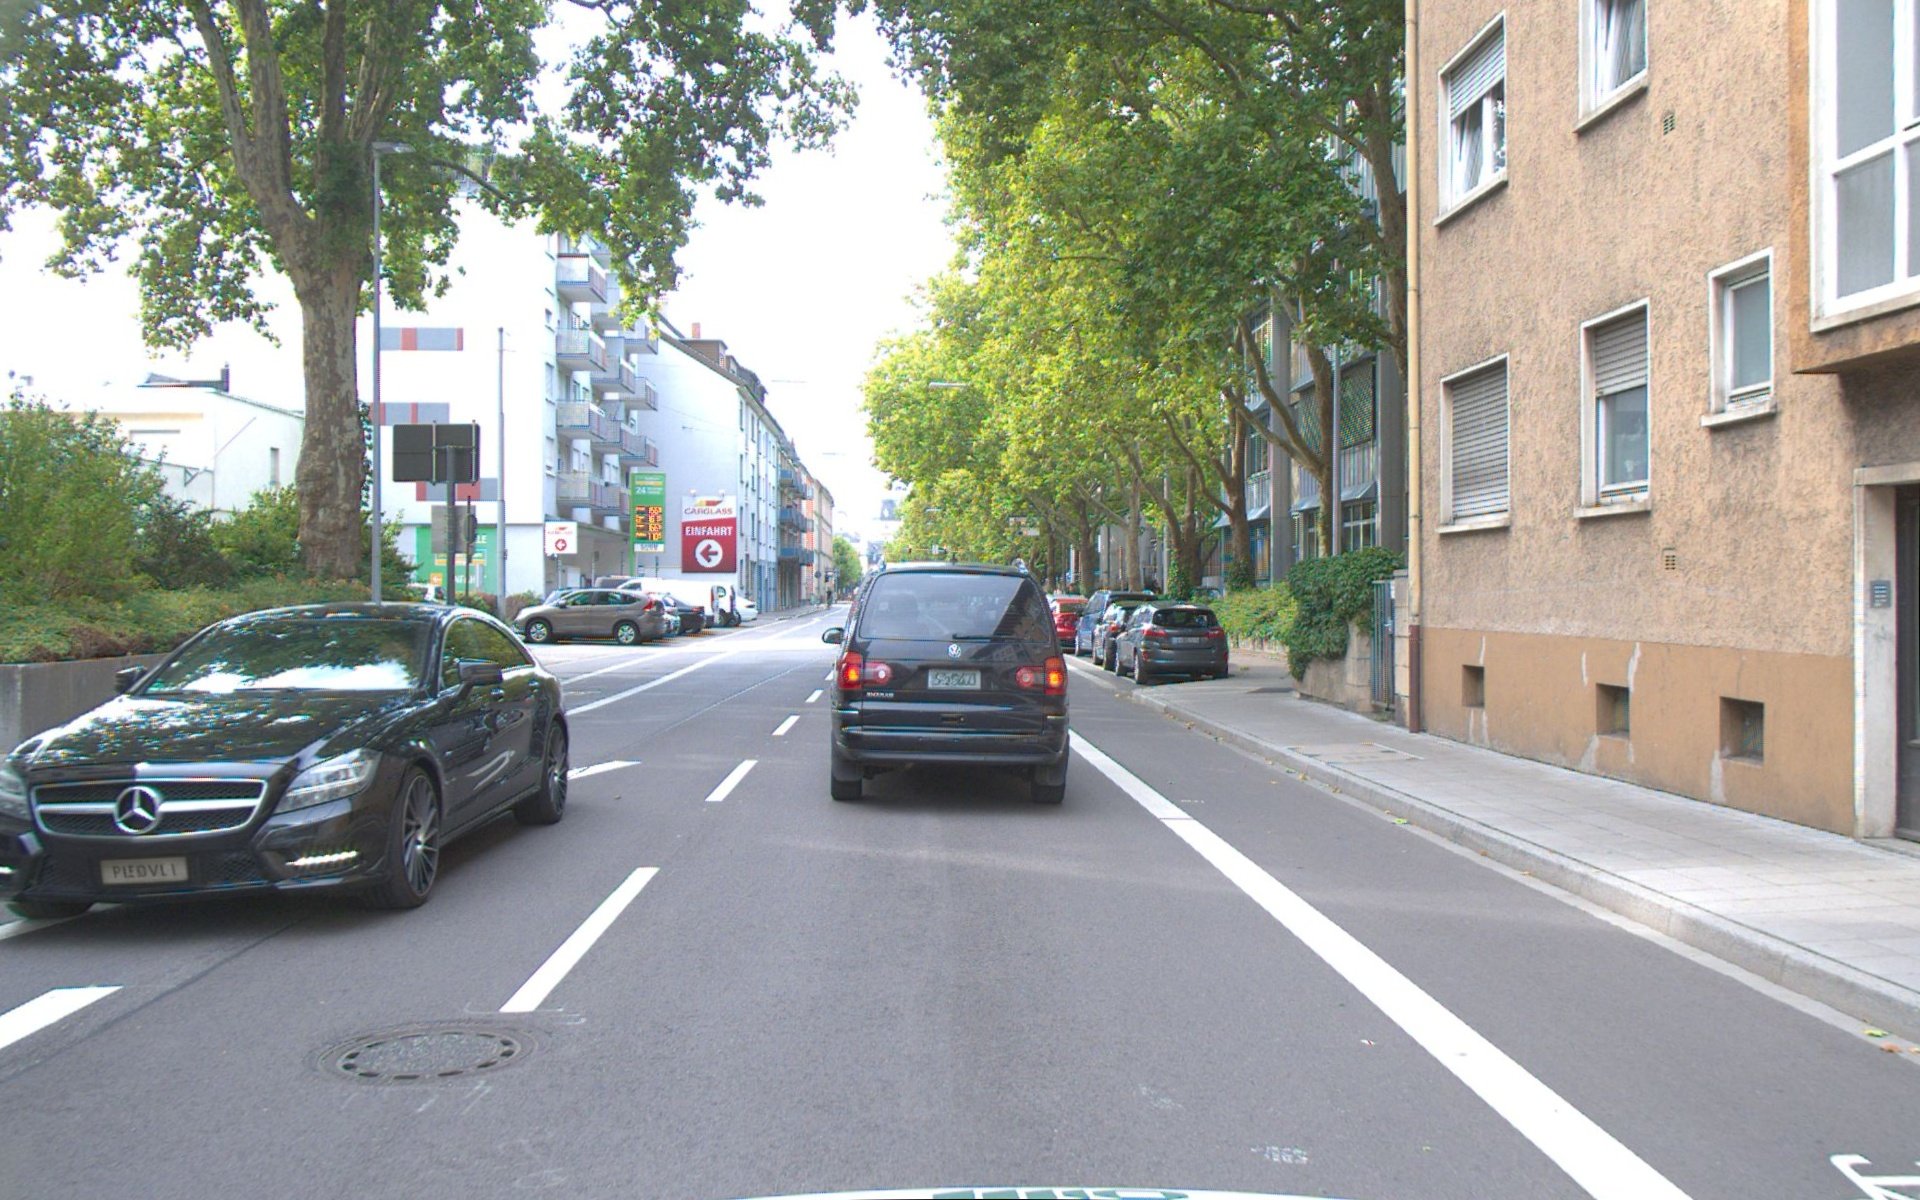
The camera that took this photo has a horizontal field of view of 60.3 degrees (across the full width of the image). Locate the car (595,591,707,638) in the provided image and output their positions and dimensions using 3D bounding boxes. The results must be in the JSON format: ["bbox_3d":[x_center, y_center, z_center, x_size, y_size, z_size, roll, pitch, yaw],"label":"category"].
[{"bbox_3d":[-10.769,0.494,57.847,3.608,1.470,1.752,2,1,-3],"label":"car"}]

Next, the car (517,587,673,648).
[{"bbox_3d":[-10.821,0.503,49.242,4.170,1.633,1.968,1,2,-2],"label":"car"}]

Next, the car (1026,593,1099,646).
[{"bbox_3d":[3.142,0.571,51.464,1.693,1.543,4.868,1,0,-3],"label":"car"}]

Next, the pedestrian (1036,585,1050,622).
[{"bbox_3d":[3.862,0.165,77.009,0.576,1.731,0.508,1,1,-1],"label":"pedestrian"}]

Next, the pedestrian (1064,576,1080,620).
[{"bbox_3d":[5.191,-0.105,76.779,0.630,2.009,0.692,1,1,-1],"label":"pedestrian"}]

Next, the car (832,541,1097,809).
[{"bbox_3d":[-0.056,0.510,13.051,1.776,1.797,3.736,1,0,-3],"label":"car"}]

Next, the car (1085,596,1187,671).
[{"bbox_3d":[3.761,0.681,35.918,1.624,1.447,3.945,0,1,-3],"label":"car"}]

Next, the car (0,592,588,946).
[{"bbox_3d":[-3.374,0.680,9.085,1.774,1.432,4.606,0,0,-2],"label":"car"}]

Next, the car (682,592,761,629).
[{"bbox_3d":[-10.394,0.469,72.283,3.277,1.523,1.595,2,0,-4],"label":"car"}]

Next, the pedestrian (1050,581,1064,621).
[{"bbox_3d":[4.513,0.041,77.005,0.576,1.870,0.692,1,1,-1],"label":"pedestrian"}]

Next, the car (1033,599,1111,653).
[{"bbox_3d":[3.046,0.678,45.727,1.642,1.418,4.458,0,0,-3],"label":"car"}]

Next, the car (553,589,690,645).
[{"bbox_3d":[-10.548,0.519,51.768,3.860,1.597,1.753,2,1,0],"label":"car"}]

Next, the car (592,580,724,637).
[{"bbox_3d":[-11.035,0.302,60.707,4.435,1.911,2.046,2,0,-1],"label":"car"}]

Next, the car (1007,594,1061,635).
[{"bbox_3d":[2.740,0.519,61.724,1.597,1.495,4.315,0,0,-3],"label":"car"}]

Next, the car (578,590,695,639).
[{"bbox_3d":[-10.920,0.481,55.970,3.609,1.511,1.752,2,1,-3],"label":"car"}]

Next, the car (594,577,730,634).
[{"bbox_3d":[-11.331,0.203,63.233,4.818,1.936,1.999,2,0,-3],"label":"car"}]

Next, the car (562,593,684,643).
[{"bbox_3d":[-10.926,0.575,53.830,3.609,1.451,1.752,2,1,-3],"label":"car"}]

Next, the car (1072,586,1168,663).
[{"bbox_3d":[3.884,0.559,40.756,1.625,1.679,4.417,2,1,-4],"label":"car"}]

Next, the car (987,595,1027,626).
[{"bbox_3d":[2.249,0.488,80.220,1.642,1.418,4.459,2,0,-2],"label":"car"}]

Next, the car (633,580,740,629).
[{"bbox_3d":[-11.538,0.186,69.864,4.222,1.902,1.823,2,0,-4],"label":"car"}]

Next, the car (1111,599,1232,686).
[{"bbox_3d":[3.914,0.740,31.164,1.624,1.447,3.865,0,1,-3],"label":"car"}]
